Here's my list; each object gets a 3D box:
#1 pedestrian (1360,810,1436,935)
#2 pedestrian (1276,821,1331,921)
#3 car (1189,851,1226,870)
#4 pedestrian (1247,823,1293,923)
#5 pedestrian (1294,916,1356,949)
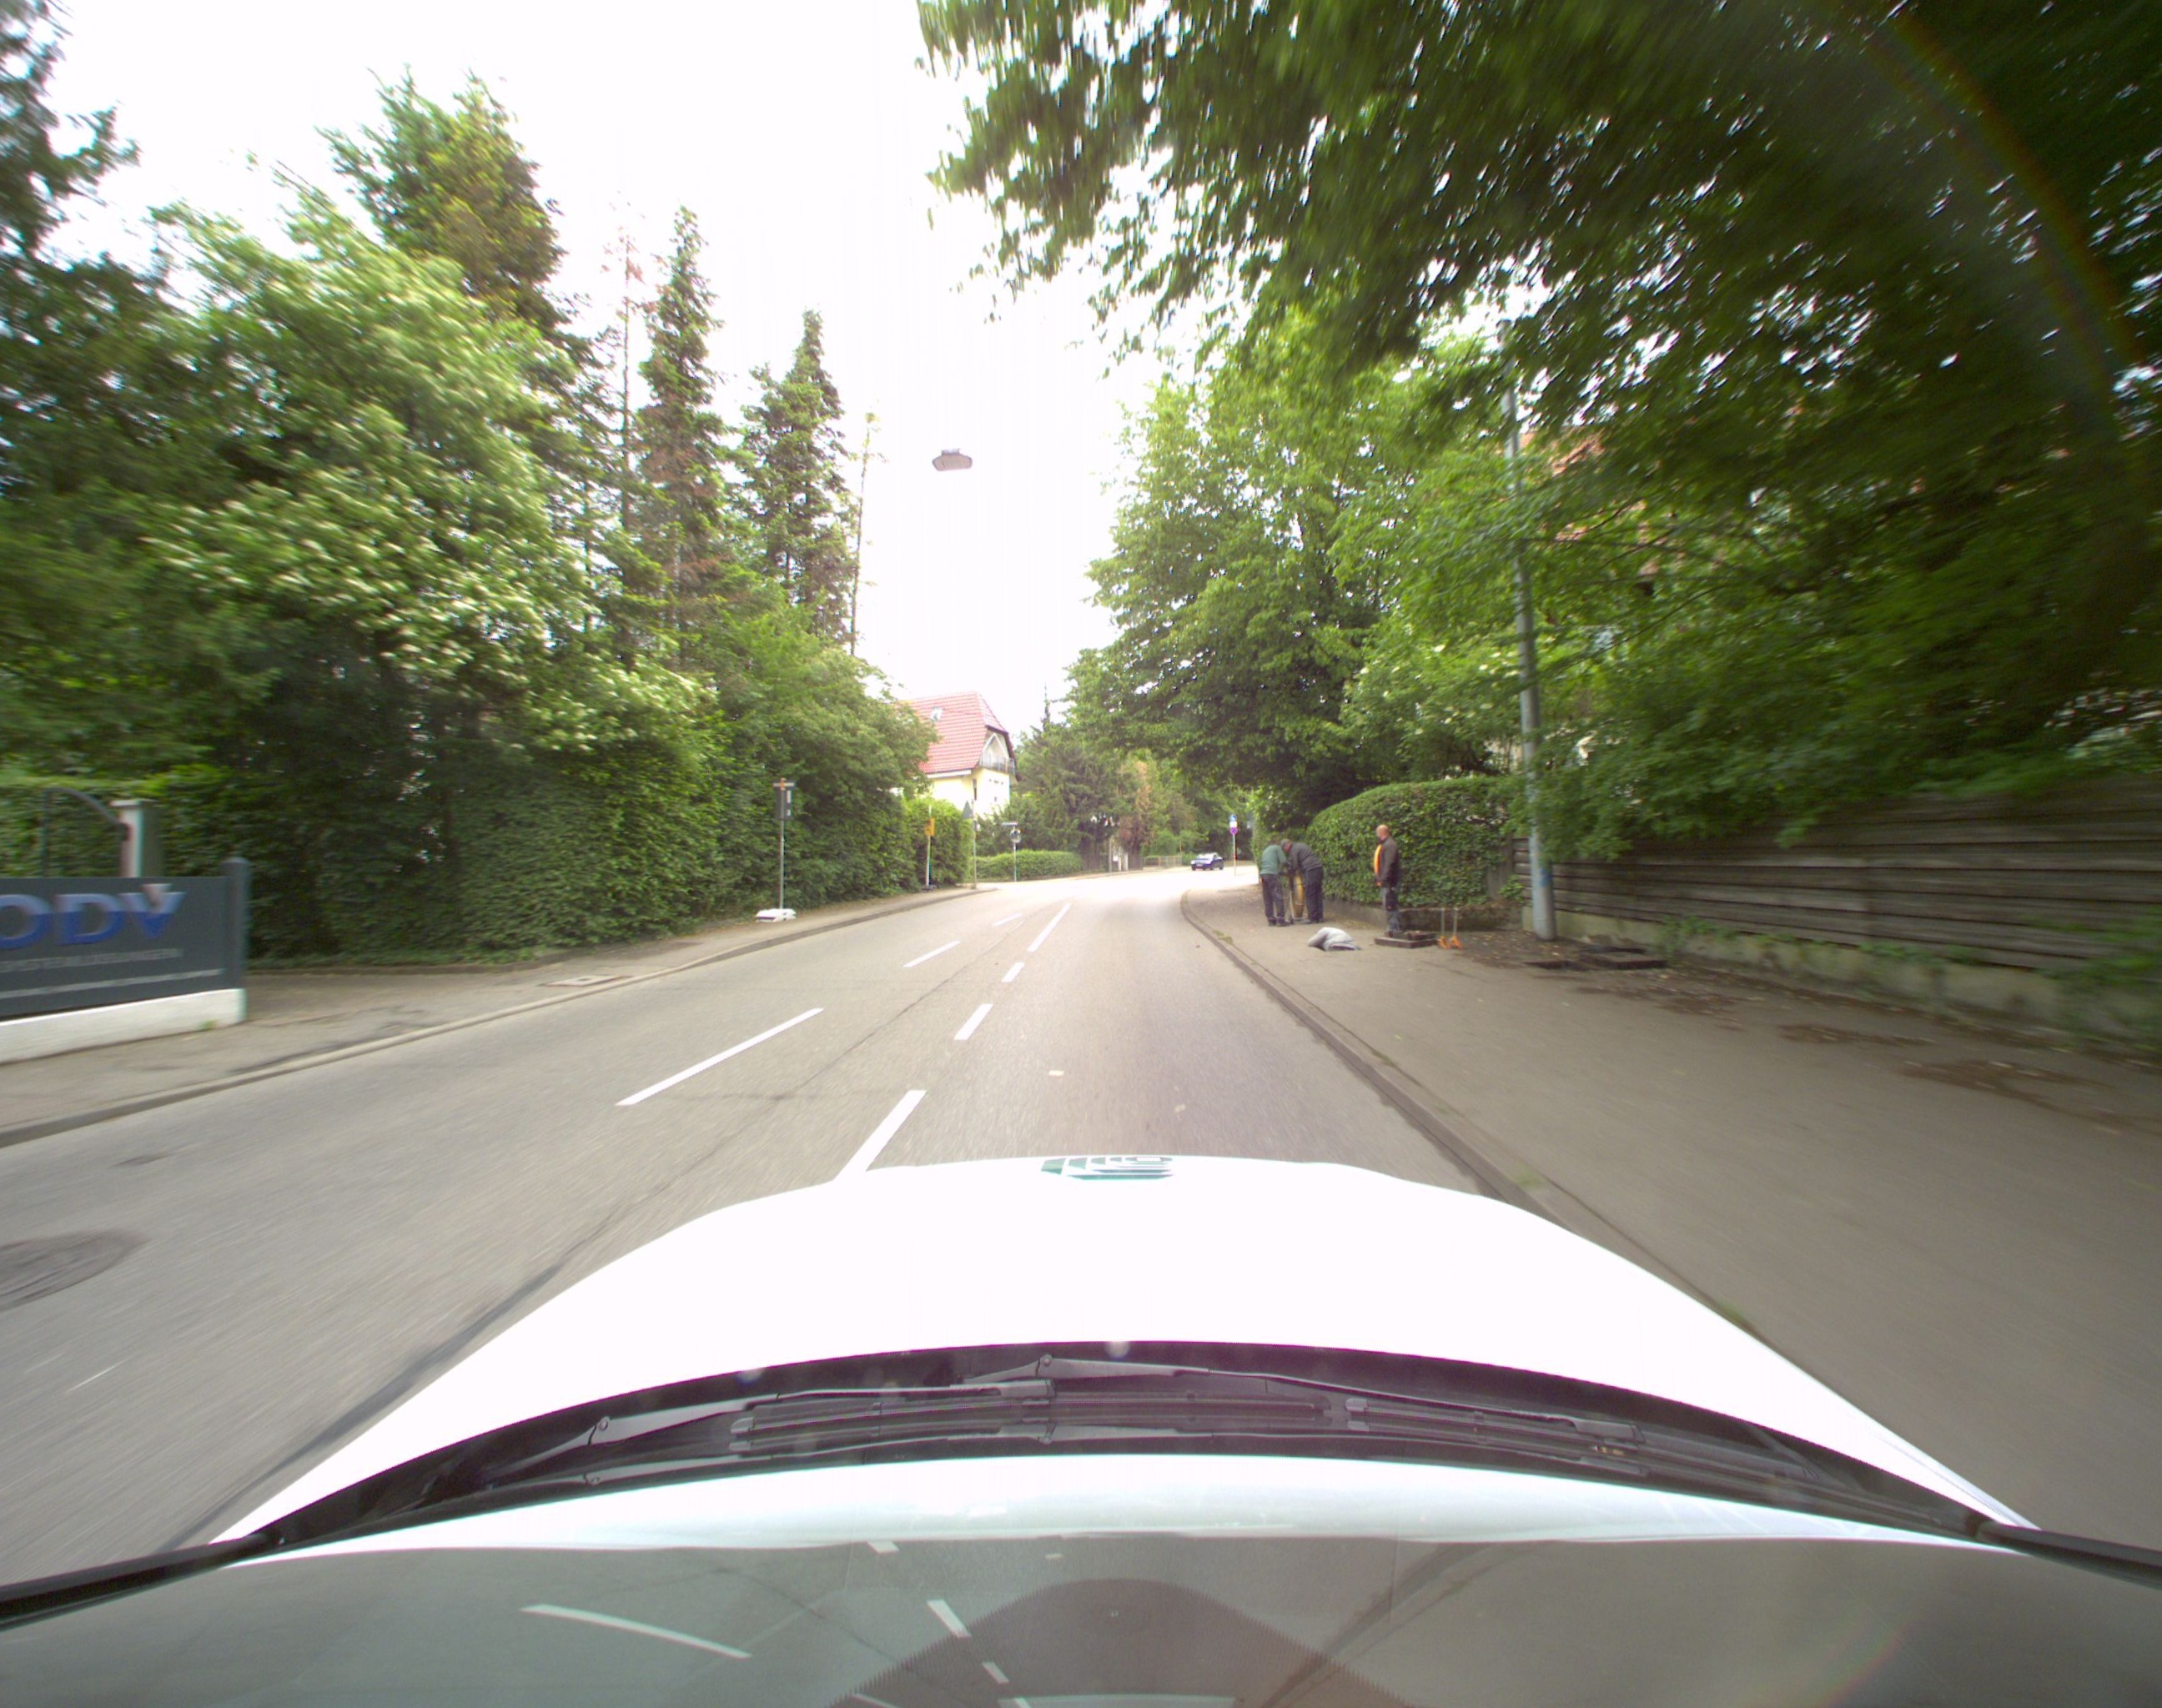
[{"bbox_3d":[4.757,0.274,12.264,0.804,1.807,0.741,-2,0,1],"label":"pedestrian"},{"bbox_3d":[4.171,0.308,15.256,0.694,1.807,0.665,-1,-1,-39],"label":"pedestrian"},{"bbox_3d":[10.190,0.484,65.564,1.740,1.439,4.118,-1,0,26],"label":"car"},{"bbox_3d":[3.498,0.345,15.101,0.594,1.807,0.522,-2,-1,42],"label":"pedestrian"},{"bbox_3d":[3.488,1.119,11.696,0.670,0.393,0.741,-2,0,1],"label":"pedestrian"}]
